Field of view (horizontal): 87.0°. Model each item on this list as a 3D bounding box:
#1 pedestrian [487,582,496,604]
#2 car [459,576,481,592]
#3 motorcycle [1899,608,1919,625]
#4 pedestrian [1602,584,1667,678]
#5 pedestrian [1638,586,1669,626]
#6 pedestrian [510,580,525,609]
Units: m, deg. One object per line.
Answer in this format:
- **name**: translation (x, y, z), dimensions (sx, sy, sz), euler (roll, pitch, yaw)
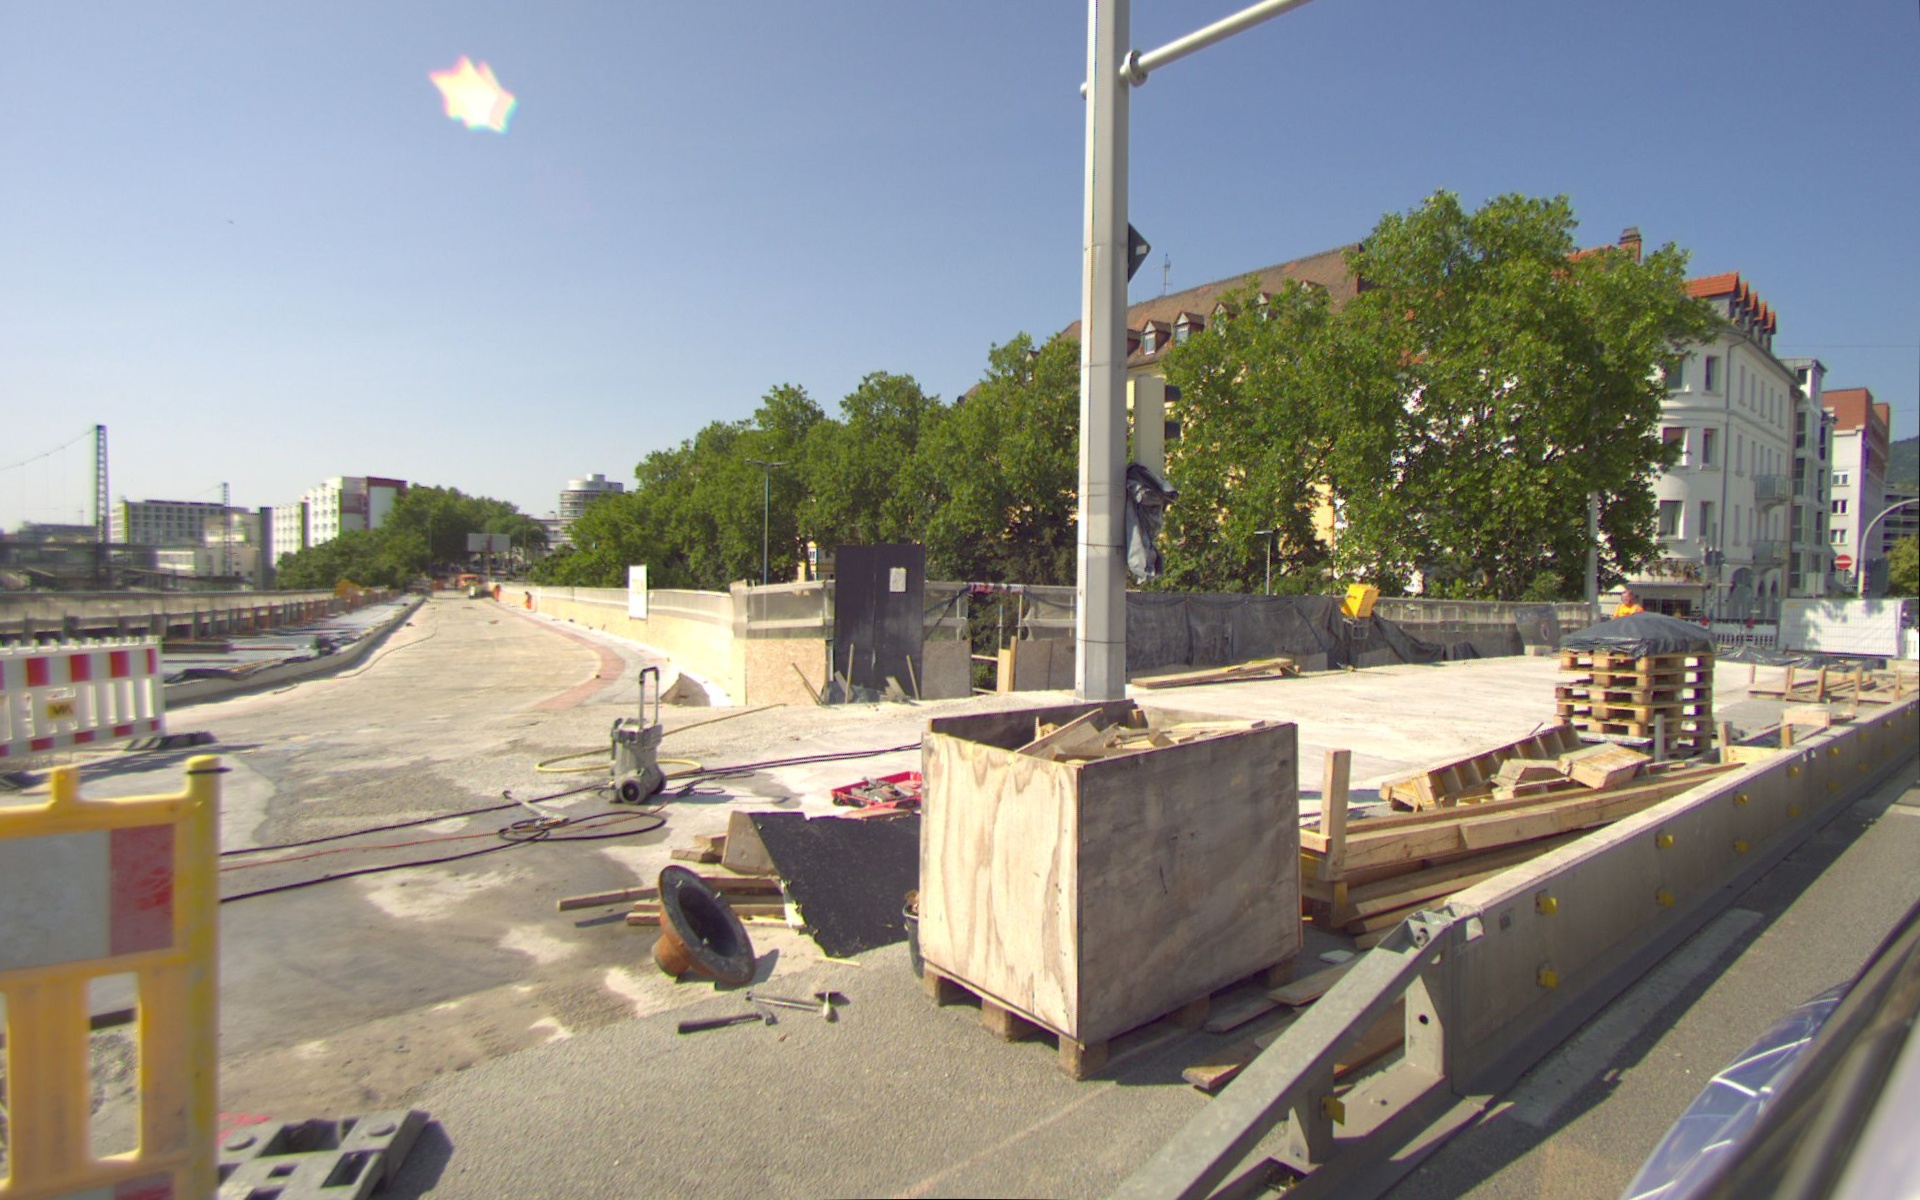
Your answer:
- **pedestrian**: translation (-44.246, -0.638, 95.606), dimensions (0.750, 2.038, 0.930), euler (2, 1, -24)
- **car**: translation (-65.726, -2.159, 135.729), dimensions (1.898, 1.953, 4.224), euler (1, 2, -35)
- **motorcycle**: translation (70.518, 1.220, 74.309), dimensions (0.730, 1.180, 2.177), euler (1, 1, -39)
- **pedestrian**: translation (13.660, 0.601, 20.499), dimensions (0.849, 1.817, 0.821), euler (1, 3, -42)
- **pedestrian**: translation (30.460, 0.253, 44.461), dimensions (1.000, 1.728, 0.810), euler (2, 1, 42)
- **pedestrian**: translation (-32.286, -0.427, 73.798), dimensions (0.909, 2.038, 0.768), euler (2, 1, -22)
